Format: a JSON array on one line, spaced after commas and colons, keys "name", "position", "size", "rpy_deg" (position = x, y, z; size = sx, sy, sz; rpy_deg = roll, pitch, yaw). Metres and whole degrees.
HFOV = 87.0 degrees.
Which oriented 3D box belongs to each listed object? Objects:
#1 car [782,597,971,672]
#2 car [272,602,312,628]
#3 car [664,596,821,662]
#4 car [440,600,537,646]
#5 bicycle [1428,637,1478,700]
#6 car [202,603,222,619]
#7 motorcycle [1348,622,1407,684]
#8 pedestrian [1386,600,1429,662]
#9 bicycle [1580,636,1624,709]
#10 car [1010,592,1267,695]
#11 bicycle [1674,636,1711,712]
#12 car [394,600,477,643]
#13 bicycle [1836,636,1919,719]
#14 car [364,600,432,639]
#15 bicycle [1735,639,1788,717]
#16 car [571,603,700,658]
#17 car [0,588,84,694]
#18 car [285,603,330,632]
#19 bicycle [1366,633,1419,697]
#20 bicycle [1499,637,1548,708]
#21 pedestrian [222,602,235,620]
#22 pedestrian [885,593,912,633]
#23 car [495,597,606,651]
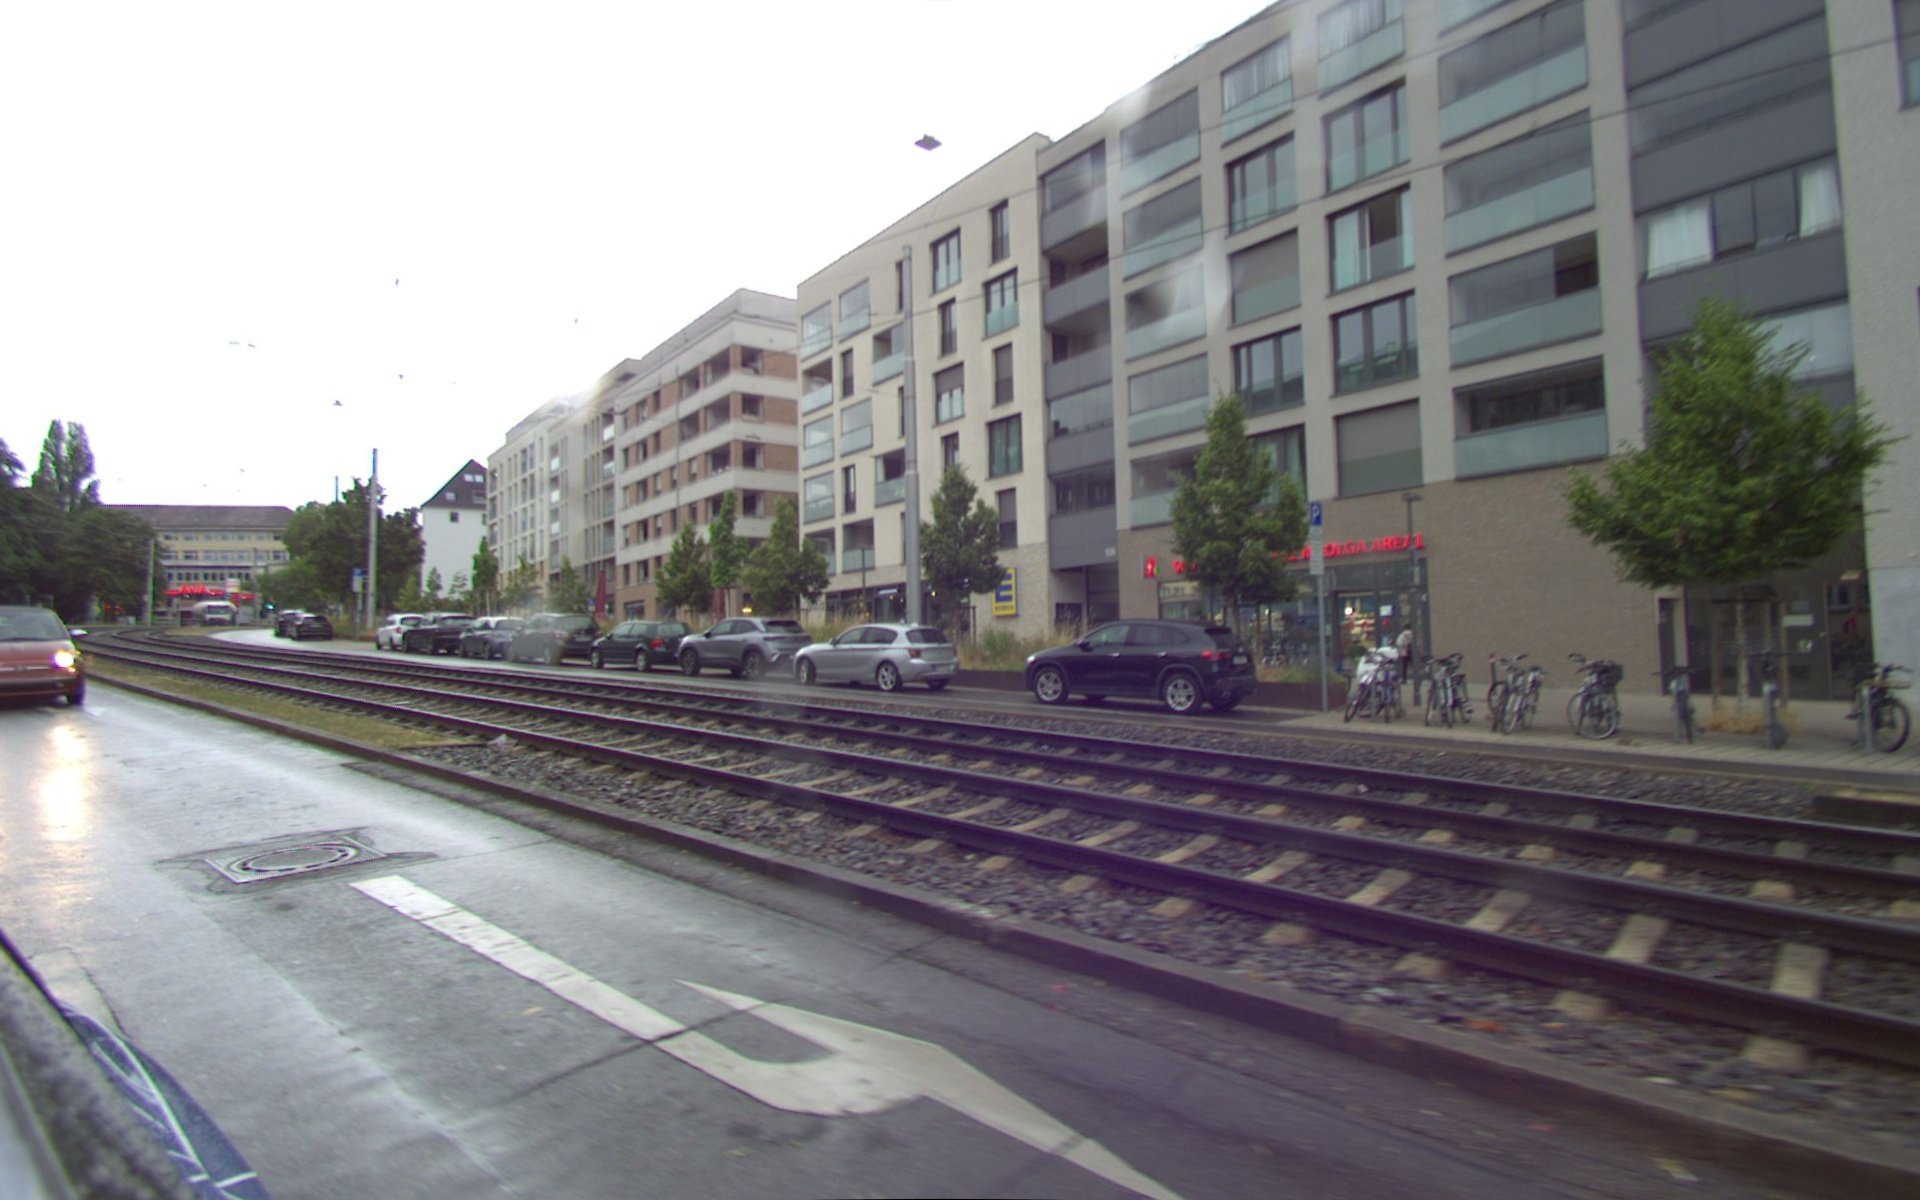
[{"name": "car", "position": [-1.936, 0.701, 22.620], "size": [4.327, 1.475, 1.663], "rpy_deg": [0, 2, 41]}, {"name": "car", "position": [-41.916, 0.909, 63.472], "size": [1.630, 1.475, 3.677], "rpy_deg": [-4, 3, -40]}, {"name": "car", "position": [-5.607, 0.686, 25.903], "size": [4.043, 1.541, 1.665], "rpy_deg": [0, 2, 37]}, {"name": "car", "position": [-16.773, 0.768, 35.907], "size": [3.927, 1.516, 1.663], "rpy_deg": [0, 2, 41]}, {"name": "bicycle", "position": [7.855, 1.064, 16.086], "size": [0.387, 0.924, 1.767], "rpy_deg": [0, -1, 37]}, {"name": "car", "position": [-89.131, 1.292, 120.626], "size": [1.641, 1.618, 3.819], "rpy_deg": [-3, 3, -33]}, {"name": "motorcycle", "position": [7.797, 0.966, 18.853], "size": [0.542, 1.050, 1.742], "rpy_deg": [2, 1, 38]}, {"name": "pedestrian", "position": [11.024, 0.759, 24.938], "size": [0.532, 1.460, 0.805], "rpy_deg": [-3, 3, -36]}, {"name": "bicycle", "position": [9.334, 1.022, 14.688], "size": [0.387, 0.924, 1.767], "rpy_deg": [0, 1, 37]}, {"name": "car", "position": [3.117, 0.693, 18.248], "size": [4.327, 1.615, 1.663], "rpy_deg": [0, 2, 41]}, {"name": "bicycle", "position": [10.335, 1.015, 14.259], "size": [0.387, 0.924, 1.767], "rpy_deg": [0, 0, 37]}, {"name": "car", "position": [-20.322, 0.777, 39.132], "size": [1.660, 1.516, 4.409], "rpy_deg": [-2, 2, -44]}, {"name": "bicycle", "position": [12.245, 0.998, 13.471], "size": [0.385, 0.924, 1.775], "rpy_deg": [-1, 1, 24]}, {"name": "car", "position": [-23.808, 0.800, 42.834], "size": [1.626, 1.516, 3.785], "rpy_deg": [-2, 2, -43]}, {"name": "bicycle", "position": [10.904, 1.025, 13.798], "size": [0.386, 0.924, 1.769], "rpy_deg": [0, 0, 33]}, {"name": "car", "position": [-9.302, 0.812, 28.899], "size": [4.031, 1.391, 1.663], "rpy_deg": [0, 2, 41]}, {"name": "car", "position": [-15.044, 0.592, 15.765], "size": [3.668, 1.475, 1.573], "rpy_deg": [0, 3, 41]}, {"name": "car", "position": [-36.626, 0.952, 56.799], "size": [1.630, 1.475, 3.677], "rpy_deg": [-4, 3, -40]}, {"name": "bicycle", "position": [7.173, 1.046, 16.734], "size": [0.387, 0.924, 1.767], "rpy_deg": [0, 1, 37]}, {"name": "bicycle", "position": [8.406, 1.047, 15.074], "size": [0.387, 0.924, 1.767], "rpy_deg": [0, 1, 37]}, {"name": "pedestrian", "position": [-75.192, 1.148, 103.984], "size": [0.805, 1.777, 0.750], "rpy_deg": [1, -2, -9]}, {"name": "pedestrian", "position": [-2.346, 0.493, 38.633], "size": [0.647, 1.460, 0.805], "rpy_deg": [-3, 3, -36]}, {"name": "car", "position": [-13.046, 0.709, 32.122], "size": [3.927, 1.575, 1.663], "rpy_deg": [0, 2, 41]}]
